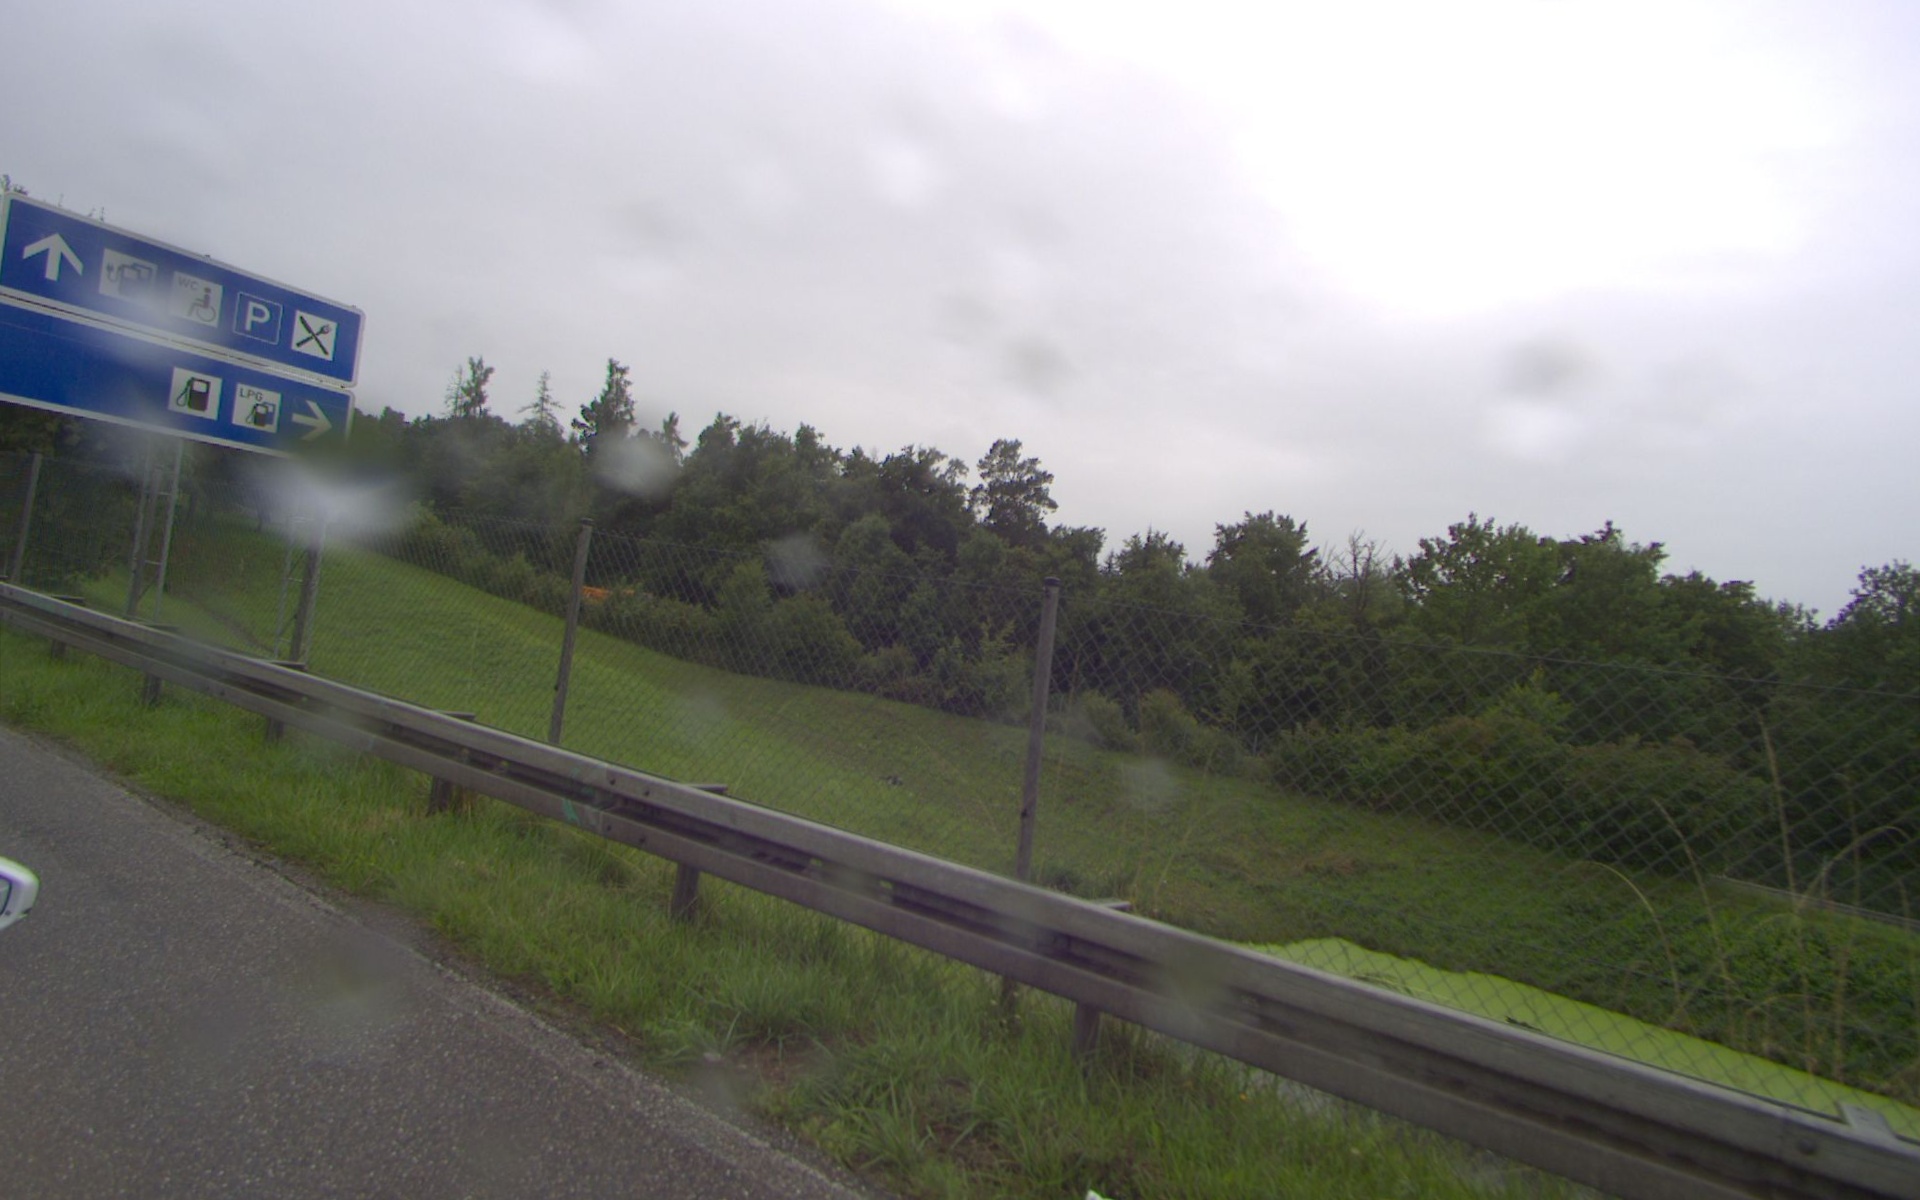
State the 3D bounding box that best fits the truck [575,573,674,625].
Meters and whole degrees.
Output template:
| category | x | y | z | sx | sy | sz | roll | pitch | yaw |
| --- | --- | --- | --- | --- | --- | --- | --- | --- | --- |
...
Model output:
| category | x | y | z | sx | sy | sz | roll | pitch | yaw |
| --- | --- | --- | --- | --- | --- | --- | --- | --- | --- |
| truck | -26.133 | -0.115 | 78.279 | 8.138 | 2.686 | 2.834 | 8 | -6 | 37 |
